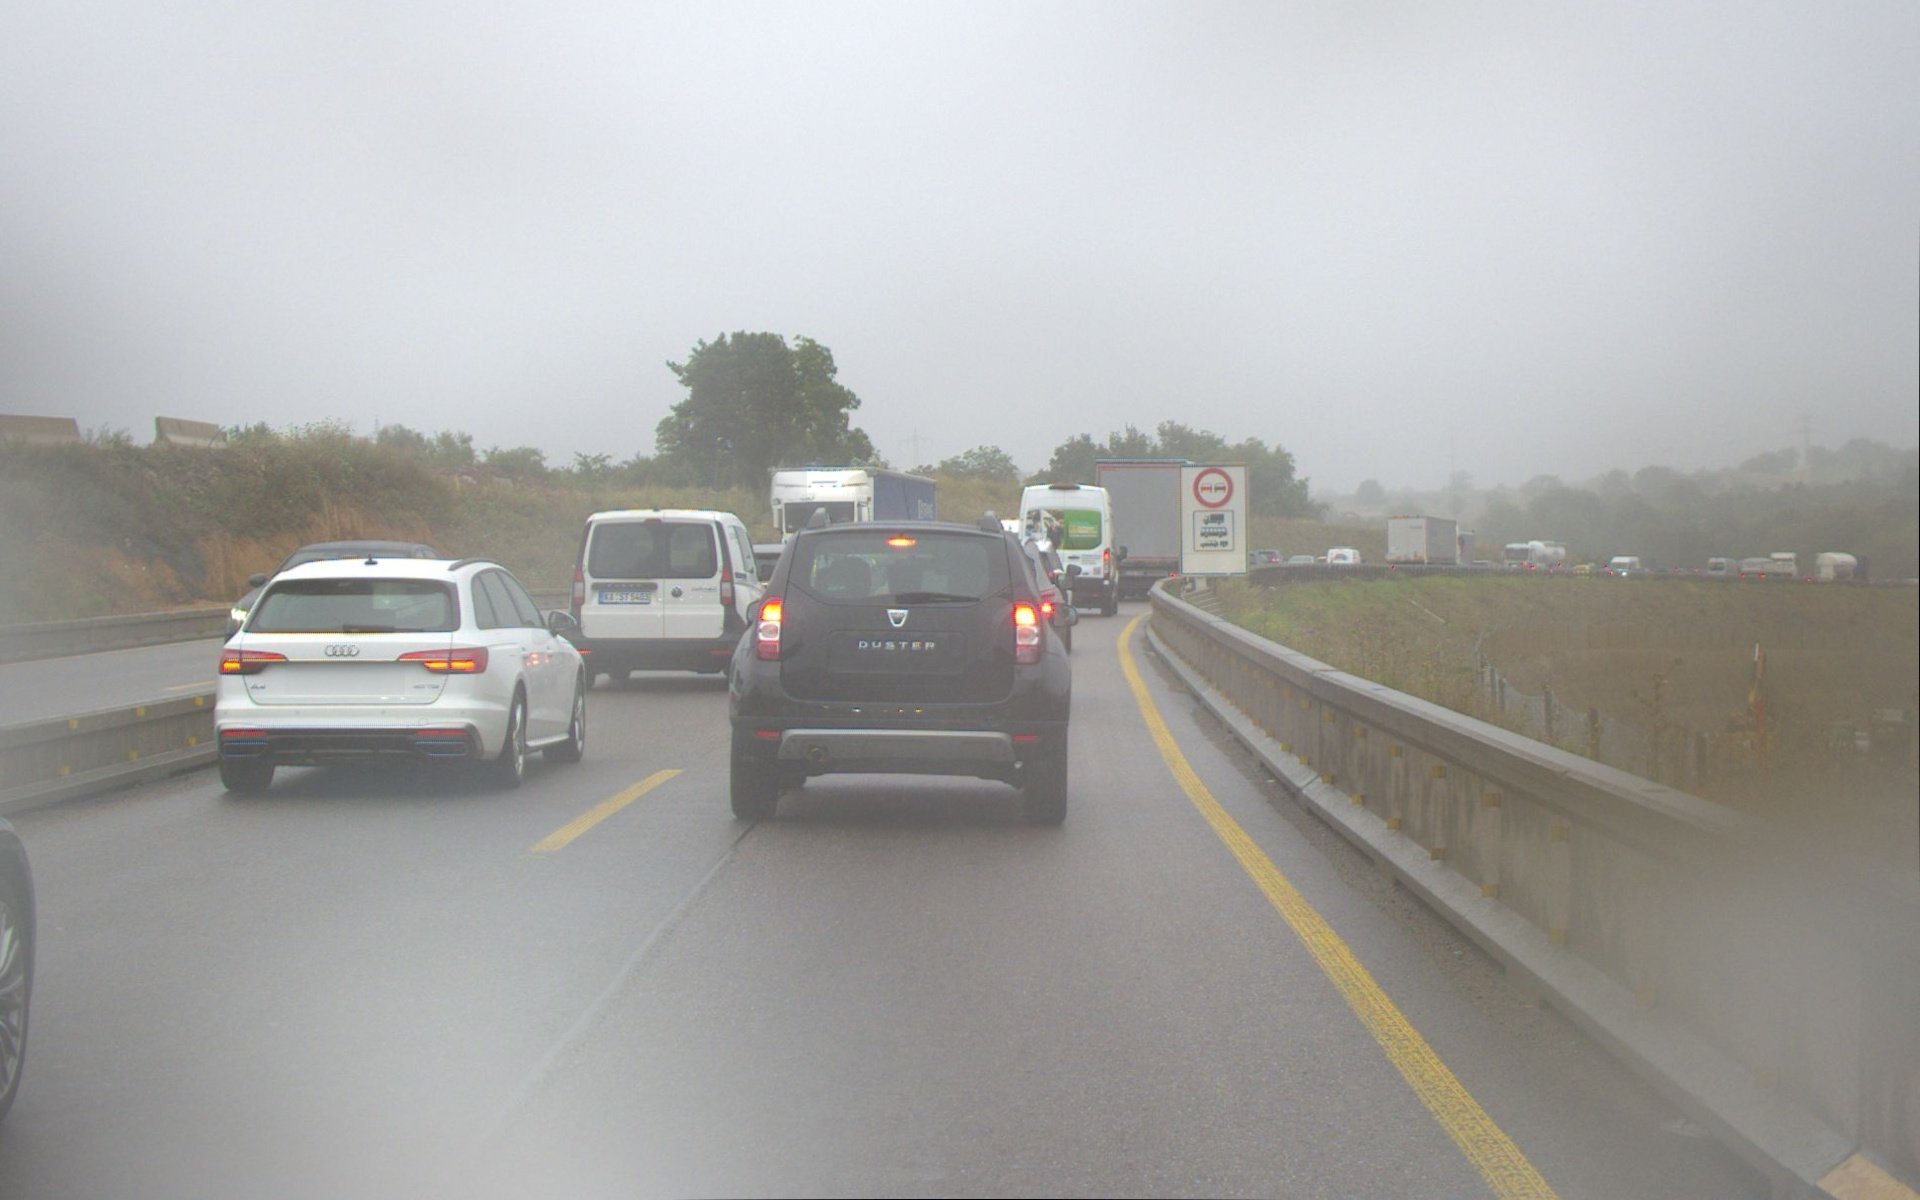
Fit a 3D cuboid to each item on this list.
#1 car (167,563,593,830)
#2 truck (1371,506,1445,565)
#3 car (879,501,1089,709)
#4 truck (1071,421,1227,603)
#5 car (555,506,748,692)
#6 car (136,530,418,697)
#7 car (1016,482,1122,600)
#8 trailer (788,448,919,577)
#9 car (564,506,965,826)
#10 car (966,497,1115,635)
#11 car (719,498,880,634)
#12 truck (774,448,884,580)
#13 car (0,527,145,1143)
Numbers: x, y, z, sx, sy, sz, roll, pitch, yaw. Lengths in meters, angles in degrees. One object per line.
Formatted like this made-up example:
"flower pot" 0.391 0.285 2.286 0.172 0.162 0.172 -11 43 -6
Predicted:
"car" -3.531 0.538 21.645 1.826 1.494 4.000 1 0 3
"truck" 28.815 -4.182 220.706 3.475 3.702 8.411 0 1 16
"car" 0.203 0.030 32.414 1.826 1.809 4.000 1 0 0
"truck" 5.692 -2.493 101.599 3.545 5.060 10.438 1 0 9
"car" -3.176 -0.023 36.037 1.826 1.809 4.000 1 0 -3
"car" -6.971 0.086 35.584 1.918 1.580 4.895 1 1 0
"car" 2.363 -1.230 73.560 1.827 2.429 4.156 1 0 8
"trailer" -3.464 -2.963 115.657 2.780 4.021 13.739 1 2 5
"car" -0.989 0.322 19.408 1.826 1.585 4.000 1 0 3
"car" 1.157 -0.467 47.764 1.826 1.809 3.999 1 0 4
"car" -2.215 -0.471 48.395 1.826 1.809 4.000 1 0 3
"truck" -4.094 -2.735 108.668 2.789 4.021 5.819 1 2 4
"car" -3.185 0.640 7.041 1.735 1.457 5.630 1 3 0
